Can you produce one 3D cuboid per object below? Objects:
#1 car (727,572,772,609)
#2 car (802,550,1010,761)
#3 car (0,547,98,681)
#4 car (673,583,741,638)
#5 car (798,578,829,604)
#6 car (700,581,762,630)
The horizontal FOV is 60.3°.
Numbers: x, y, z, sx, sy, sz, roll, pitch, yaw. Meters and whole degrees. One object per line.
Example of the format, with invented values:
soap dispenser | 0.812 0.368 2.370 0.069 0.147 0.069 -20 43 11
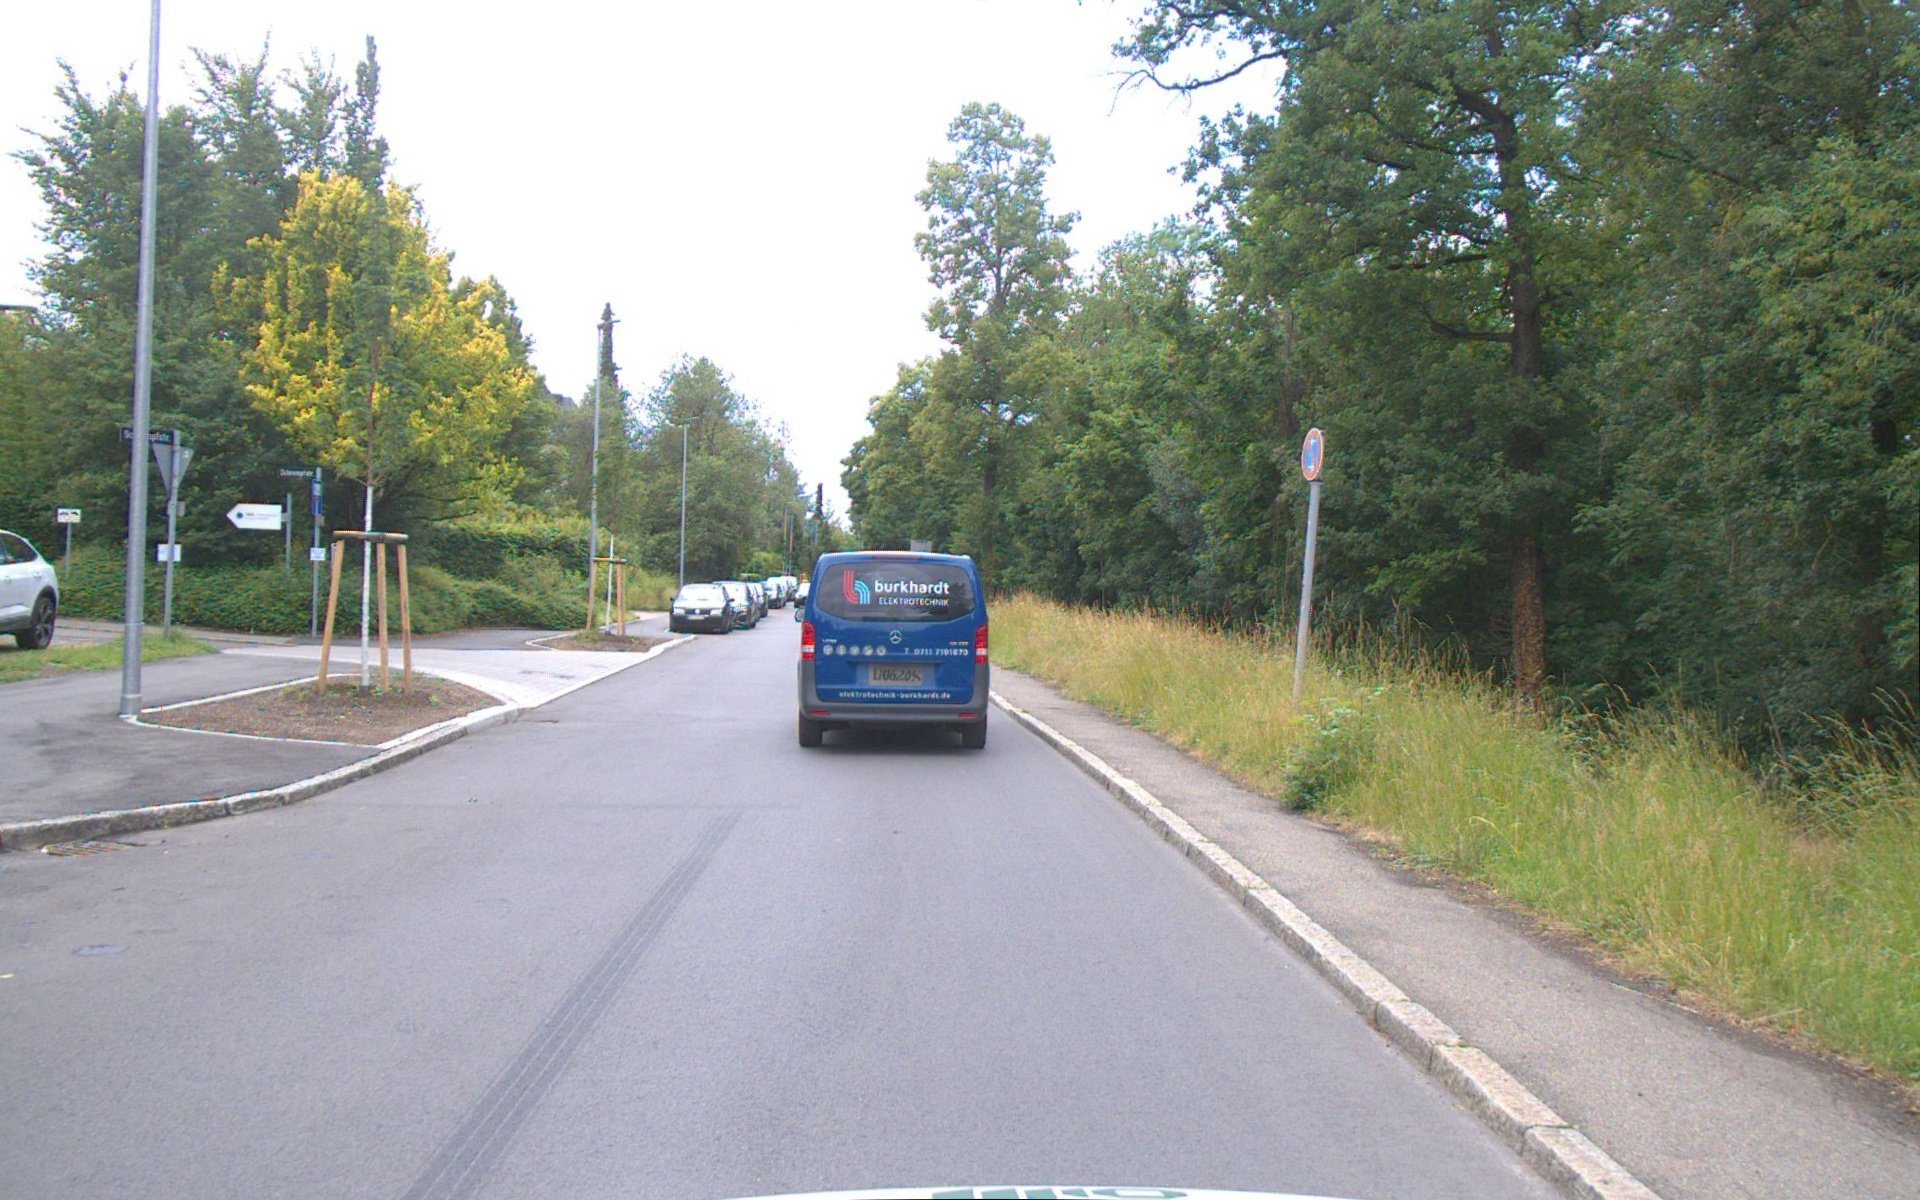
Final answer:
car | -9.023 -0.422 71.170 1.743 1.456 5.100 1 1 -5
car | -0.659 0.465 17.184 1.852 1.876 3.996 2 1 -5
car | -12.565 0.119 20.472 1.870 1.559 4.589 4 1 -9
car | -7.558 0.272 49.667 1.649 1.508 4.689 0 1 -4
car | -8.815 -0.568 99.447 1.746 1.450 4.485 1 1 -5
car | -7.521 0.152 54.652 1.672 1.508 4.493 0 1 -4
